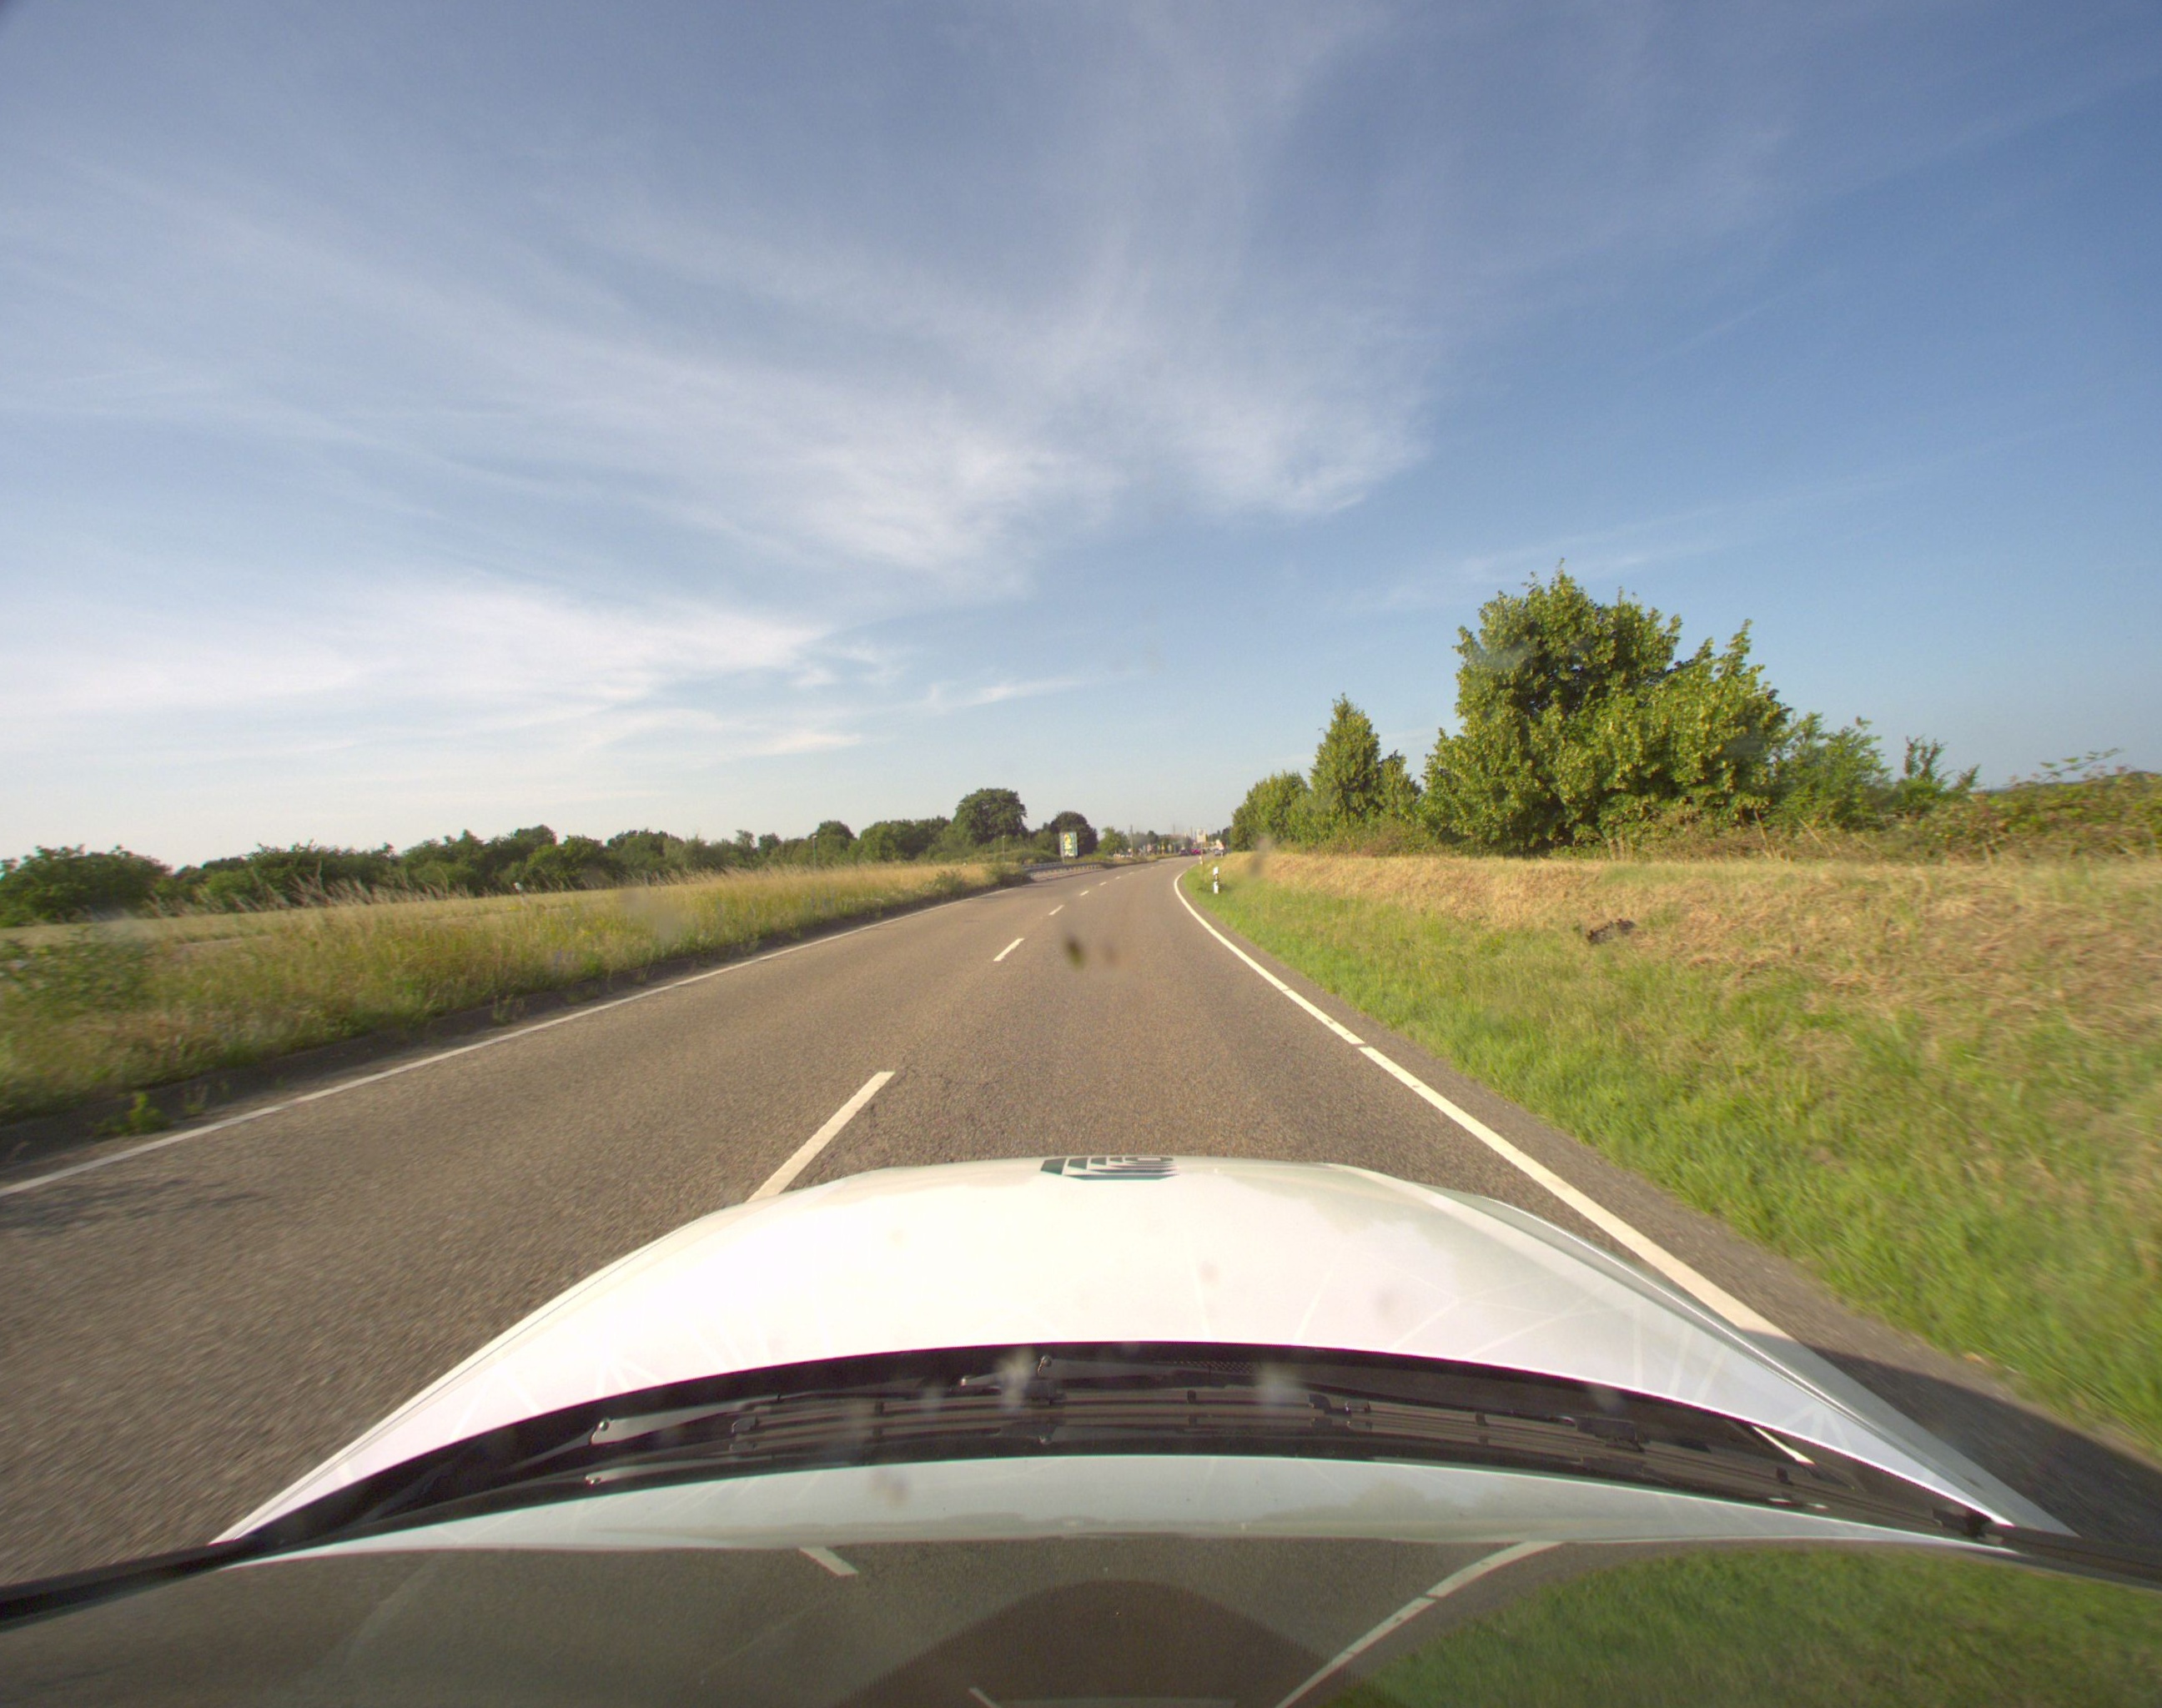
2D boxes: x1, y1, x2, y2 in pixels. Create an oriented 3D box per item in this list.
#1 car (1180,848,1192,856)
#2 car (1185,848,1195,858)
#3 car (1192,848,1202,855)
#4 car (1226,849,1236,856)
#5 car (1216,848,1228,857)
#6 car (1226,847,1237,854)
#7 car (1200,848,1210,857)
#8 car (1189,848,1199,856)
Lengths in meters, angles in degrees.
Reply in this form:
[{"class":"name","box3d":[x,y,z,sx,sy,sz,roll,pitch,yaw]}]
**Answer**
[{"class":"car","box3d":[21.811,-0.379,168.981,1.720,1.456,4.537,-3,0,14]},{"class":"car","box3d":[23.549,-0.211,175.758,1.720,1.855,4.537,-3,0,14]},{"class":"car","box3d":[27.462,-0.649,192.704,1.757,1.471,4.030,-3,0,14]},{"class":"car","box3d":[36.693,-0.475,199.091,1.979,1.552,4.015,-3,0,14]},{"class":"car","box3d":[27.202,-0.297,156.963,1.979,1.552,4.015,-3,0,14]},{"class":"car","box3d":[33.324,-0.757,180.293,1.979,1.552,4.015,-3,0,14]},{"class":"car","box3d":[32.037,-0.294,210.303,1.979,2.014,4.855,-3,-2,14]},{"class":"car","box3d":[25.494,-0.373,183.256,1.757,1.679,4.537,-3,0,14]}]
